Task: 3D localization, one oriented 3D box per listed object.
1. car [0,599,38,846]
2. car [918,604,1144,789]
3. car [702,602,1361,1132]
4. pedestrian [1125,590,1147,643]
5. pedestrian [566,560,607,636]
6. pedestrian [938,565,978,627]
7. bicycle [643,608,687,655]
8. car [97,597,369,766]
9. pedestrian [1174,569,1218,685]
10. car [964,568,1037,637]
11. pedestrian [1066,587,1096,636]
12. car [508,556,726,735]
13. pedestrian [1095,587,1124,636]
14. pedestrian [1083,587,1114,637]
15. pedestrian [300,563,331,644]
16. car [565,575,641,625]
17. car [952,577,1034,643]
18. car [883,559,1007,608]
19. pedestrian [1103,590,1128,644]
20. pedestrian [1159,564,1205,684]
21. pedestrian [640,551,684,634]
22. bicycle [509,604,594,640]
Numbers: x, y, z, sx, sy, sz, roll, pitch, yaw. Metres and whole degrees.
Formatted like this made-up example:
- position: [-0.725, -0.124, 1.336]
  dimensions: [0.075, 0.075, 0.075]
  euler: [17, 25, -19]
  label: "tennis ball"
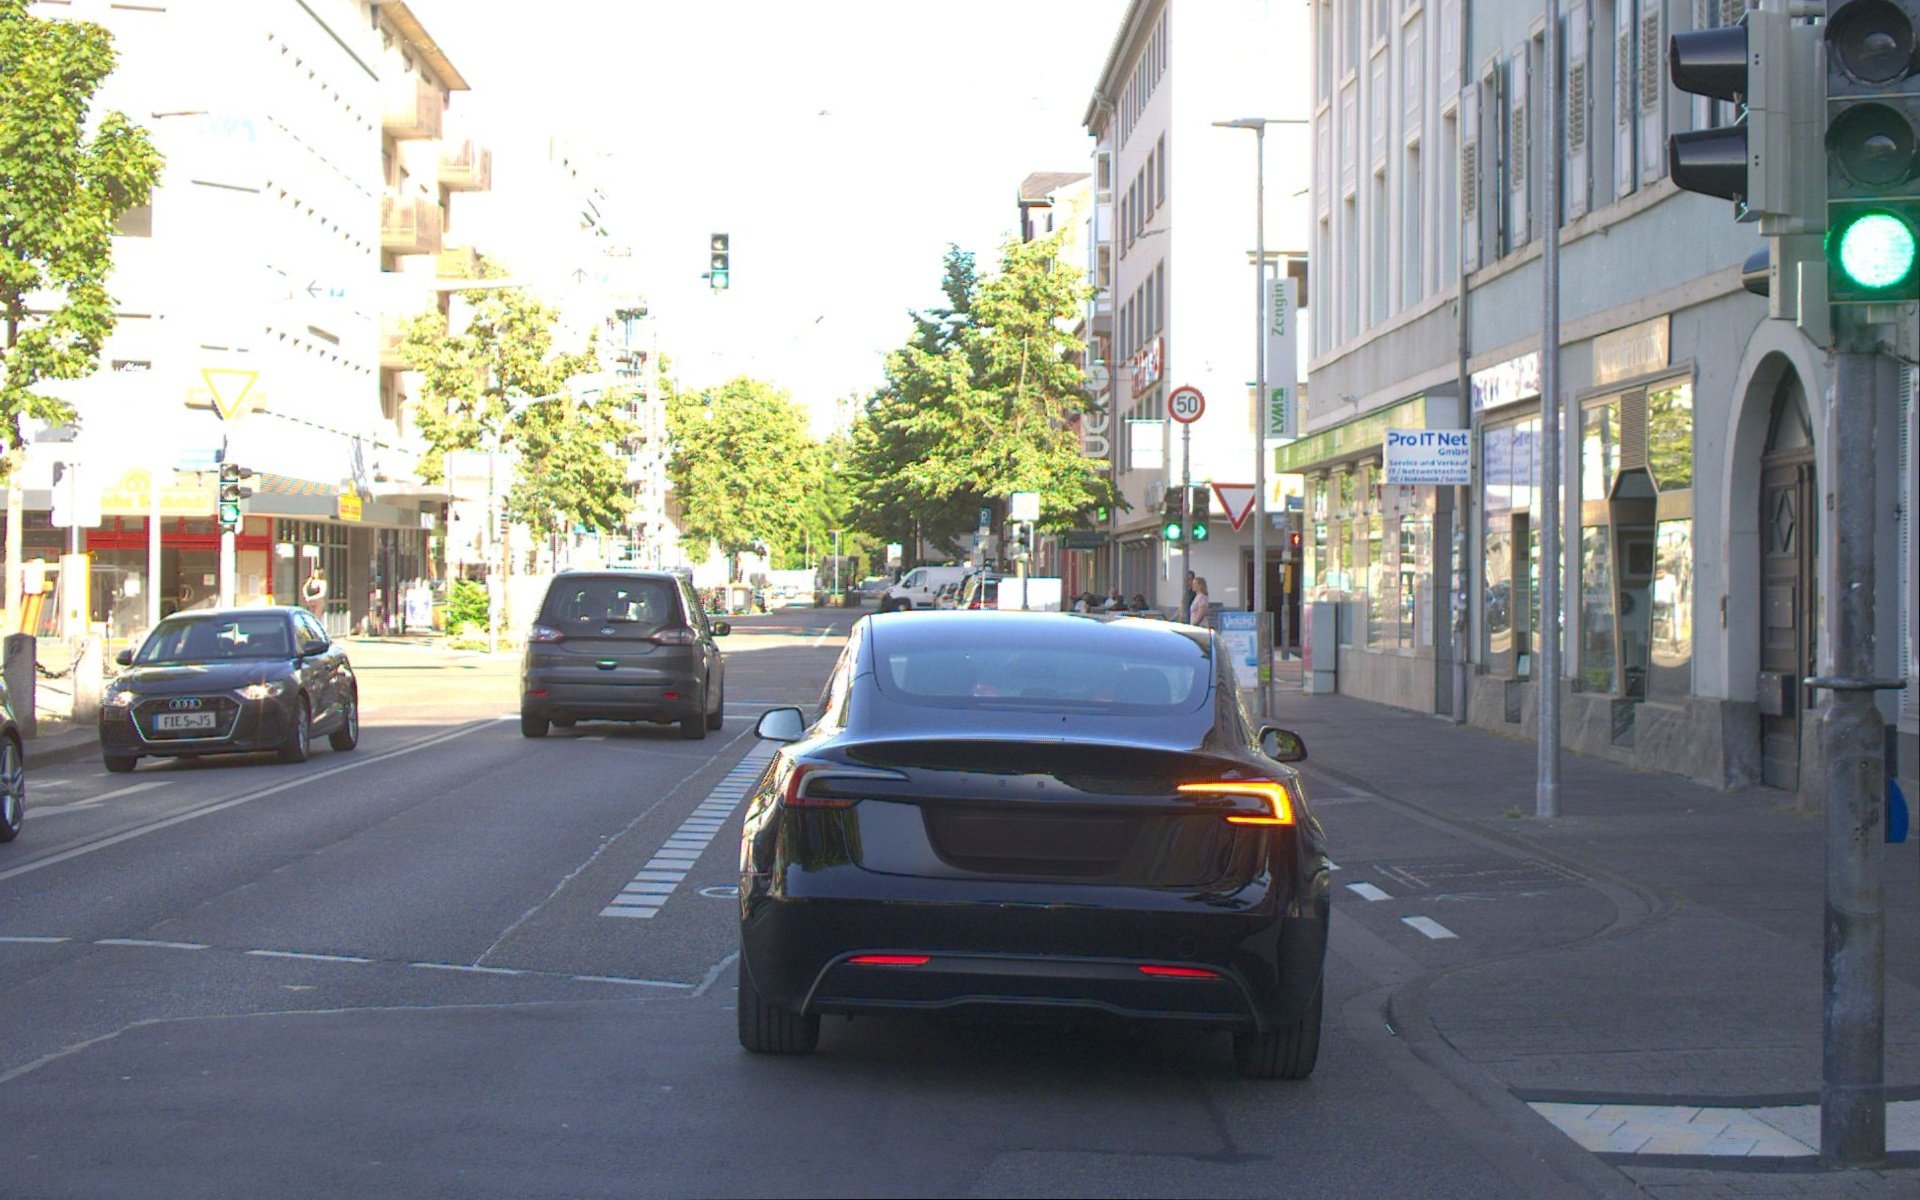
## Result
- position: [-6.430, 0.761, 18.549]
  dimensions: [1.749, 1.418, 4.255]
  euler: [-3, 0, -1]
  label: "car"
- position: [0.583, 0.765, 29.430]
  dimensions: [1.762, 1.414, 4.354]
  euler: [1, 0, 1]
  label: "car"
- position: [0.188, 0.765, 11.995]
  dimensions: [1.869, 1.422, 4.364]
  euler: [0, 1, 0]
  label: "car"
- position: [4.330, 0.403, 84.564]
  dimensions: [0.488, 1.317, 0.653]
  euler: [0, 0, 6]
  label: "pedestrian"
- position: [-8.498, -0.044, 78.153]
  dimensions: [0.790, 1.706, 0.654]
  euler: [1, 0, -16]
  label: "pedestrian"
- position: [-0.055, -0.135, 105.874]
  dimensions: [0.958, 1.909, 1.104]
  euler: [0, 0, 15]
  label: "pedestrian"
- position: [-6.808, 0.720, 79.256]
  dimensions: [0.758, 1.004, 1.726]
  euler: [-3, 1, -13]
  label: "bicycle"
- position: [-6.552, 0.693, 31.364]
  dimensions: [1.650, 1.393, 4.043]
  euler: [-1, 0, -1]
  label: "car"
- position: [3.602, 0.412, 52.483]
  dimensions: [0.572, 1.753, 0.649]
  euler: [1, 0, -1]
  label: "pedestrian"
- position: [1.106, 0.045, 95.849]
  dimensions: [1.904, 1.846, 4.288]
  euler: [1, 0, -1]
  label: "car"
- position: [3.325, 0.317, 94.379]
  dimensions: [0.709, 1.343, 1.060]
  euler: [0, 0, -4]
  label: "pedestrian"
- position: [-3.516, 0.430, 35.886]
  dimensions: [1.904, 1.727, 4.288]
  euler: [1, 0, -1]
  label: "car"
- position: [4.105, 0.318, 94.549]
  dimensions: [0.730, 1.356, 0.959]
  euler: [0, 0, -1]
  label: "pedestrian"
- position: [3.751, 0.330, 93.275]
  dimensions: [0.730, 1.343, 1.060]
  euler: [0, 0, -3]
  label: "pedestrian"
- position: [-13.665, 0.069, 72.864]
  dimensions: [0.558, 1.703, 0.712]
  euler: [0, 0, -4]
  label: "pedestrian"
- position: [-11.649, -0.013, 112.438]
  dimensions: [1.993, 1.592, 4.000]
  euler: [1, 0, 0]
  label: "car"
- position: [0.832, 0.246, 89.418]
  dimensions: [2.001, 1.631, 4.288]
  euler: [1, 0, -1]
  label: "car"
- position: [-0.656, -0.730, 151.184]
  dimensions: [5.391, 2.138, 2.000]
  euler: [0, 0, -2]
  label: "car"
- position: [3.793, 0.405, 83.778]
  dimensions: [0.586, 1.308, 0.560]
  euler: [0, 0, -1]
  label: "pedestrian"
- position: [3.427, 0.370, 53.025]
  dimensions: [0.640, 1.836, 0.681]
  euler: [0, 0, -1]
  label: "pedestrian"
- position: [-6.865, -0.180, 79.267]
  dimensions: [0.778, 1.860, 1.002]
  euler: [-2, 1, -15]
  label: "pedestrian"
- position: [-11.017, 0.588, 92.656]
  dimensions: [2.219, 0.955, 0.656]
  euler: [0, 0, -13]
  label: "bicycle"
